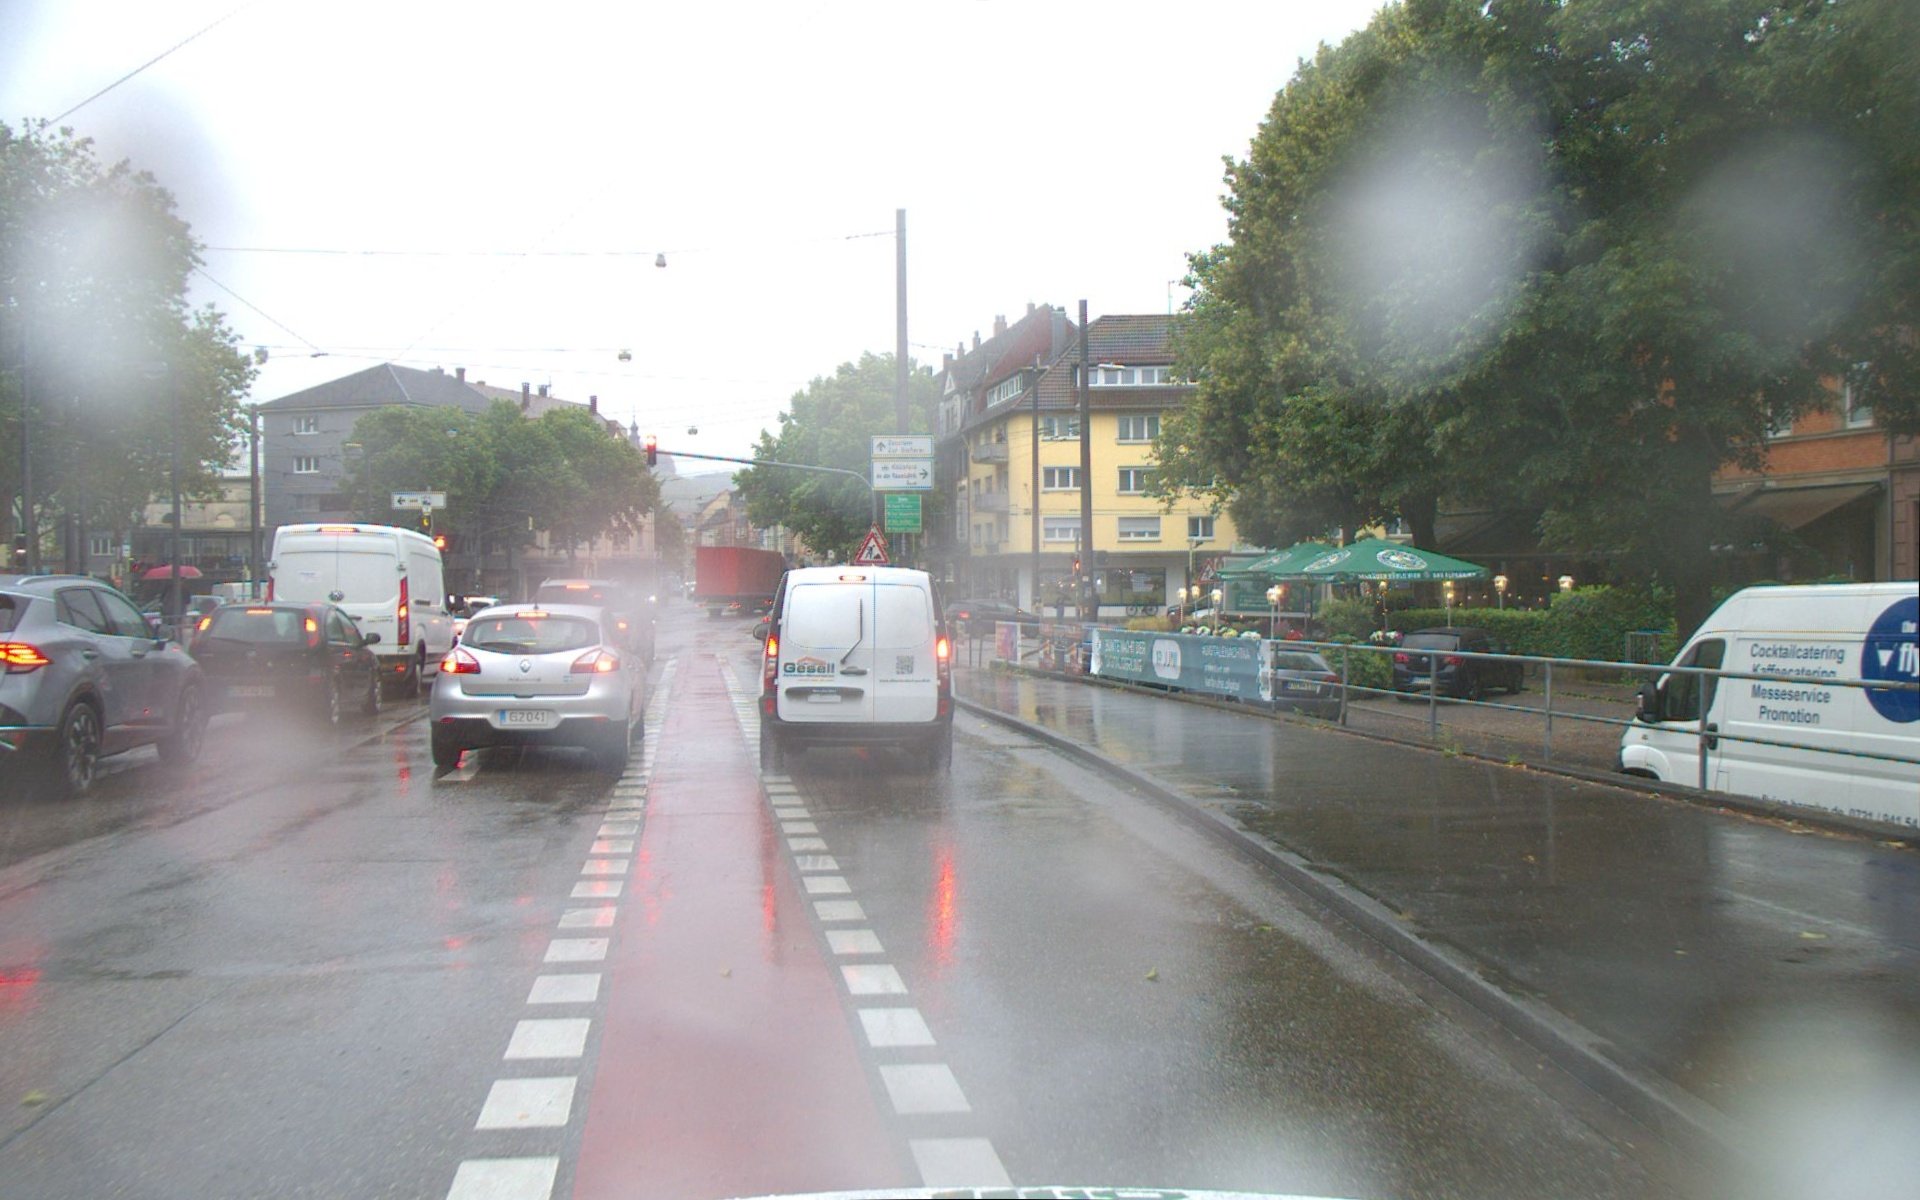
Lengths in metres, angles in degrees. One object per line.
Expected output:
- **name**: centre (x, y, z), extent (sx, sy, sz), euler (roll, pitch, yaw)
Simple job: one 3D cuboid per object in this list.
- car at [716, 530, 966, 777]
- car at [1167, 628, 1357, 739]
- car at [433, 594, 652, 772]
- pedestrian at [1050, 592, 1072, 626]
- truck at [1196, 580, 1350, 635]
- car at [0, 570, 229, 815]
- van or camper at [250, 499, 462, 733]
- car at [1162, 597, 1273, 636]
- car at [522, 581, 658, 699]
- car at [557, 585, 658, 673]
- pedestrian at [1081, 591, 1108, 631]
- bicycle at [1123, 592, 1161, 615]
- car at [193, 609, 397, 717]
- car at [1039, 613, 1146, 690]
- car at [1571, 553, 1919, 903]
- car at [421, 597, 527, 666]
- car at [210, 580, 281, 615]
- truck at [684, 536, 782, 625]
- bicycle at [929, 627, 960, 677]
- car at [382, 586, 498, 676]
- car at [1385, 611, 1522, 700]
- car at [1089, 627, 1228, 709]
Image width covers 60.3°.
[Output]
- **car**: centre (-1.347, 0.468, 16.377), extent (2.061, 2.047, 4.952), euler (0, 0, -9)
- **car**: centre (4.823, 1.301, 26.976), extent (1.701, 1.566, 4.064), euler (1, 0, -11)
- **car**: centre (-3.921, 0.719, 16.107), extent (1.735, 1.503, 3.991), euler (1, 0, -10)
- **pedestrian**: centre (4.793, 0.427, 78.430), extent (0.612, 1.561, 0.811), euler (0, -1, 43)
- **truck**: centre (12.350, 0.309, 65.486), extent (5.630, 2.049, 2.111), euler (1, 0, -2)
- **car**: centre (-7.478, 0.640, 13.265), extent (1.879, 1.652, 4.444), euler (-1, 0, -9)
- **van or camper**: centre (-9.153, 0.211, 25.602), extent (2.119, 3.196, 5.836), euler (0, 0, -11)
- **car**: centre (11.679, 0.754, 75.274), extent (4.834, 1.672, 2.000), euler (1, -3, 3)
- **car**: centre (-6.136, 0.625, 27.884), extent (1.988, 1.801, 4.452), euler (1, 0, -10)
- **car**: centre (-7.256, 0.572, 34.369), extent (1.800, 1.697, 4.164), euler (1, 0, -9)
- **pedestrian**: centre (5.738, 0.463, 70.592), extent (0.885, 1.698, 1.020), euler (1, -1, 20)
- **bicycle**: centre (10.104, 0.188, 91.705), extent (2.057, 1.283, 0.532), euler (1, 1, 5)
- **car**: centre (-7.897, 0.697, 19.979), extent (1.436, 1.137, 4.078), euler (1, 0, -10)
- **car**: centre (2.962, 1.137, 37.674), extent (1.673, 1.467, 3.520), euler (4, 1, -7)
- **car**: centre (7.586, 0.932, 13.195), extent (2.169, 2.462, 6.142), euler (2, 0, -11)
- **car**: centre (-11.292, 0.701, 38.660), extent (1.809, 1.510, 3.992), euler (1, 0, -8)
- **car**: centre (-49.523, -0.187, 114.740), extent (1.951, 2.236, 4.792), euler (2, 2, 14)
- **truck**: centre (-14.124, -1.127, 104.565), extent (3.397, 5.177, 15.311), euler (1, 0, 2)
- **bicycle**: centre (-0.393, 1.280, 41.060), extent (0.504, 1.127, 2.013), euler (3, 0, -7)
- **car**: centre (-10.132, 0.565, 32.468), extent (1.614, 1.657, 3.828), euler (0, 0, -9)
- **car**: centre (10.593, 1.138, 35.346), extent (1.956, 1.743, 3.992), euler (1, 0, 30)
- **car**: centre (3.799, 1.283, 32.261), extent (1.671, 1.424, 3.964), euler (1, 0, -9)
